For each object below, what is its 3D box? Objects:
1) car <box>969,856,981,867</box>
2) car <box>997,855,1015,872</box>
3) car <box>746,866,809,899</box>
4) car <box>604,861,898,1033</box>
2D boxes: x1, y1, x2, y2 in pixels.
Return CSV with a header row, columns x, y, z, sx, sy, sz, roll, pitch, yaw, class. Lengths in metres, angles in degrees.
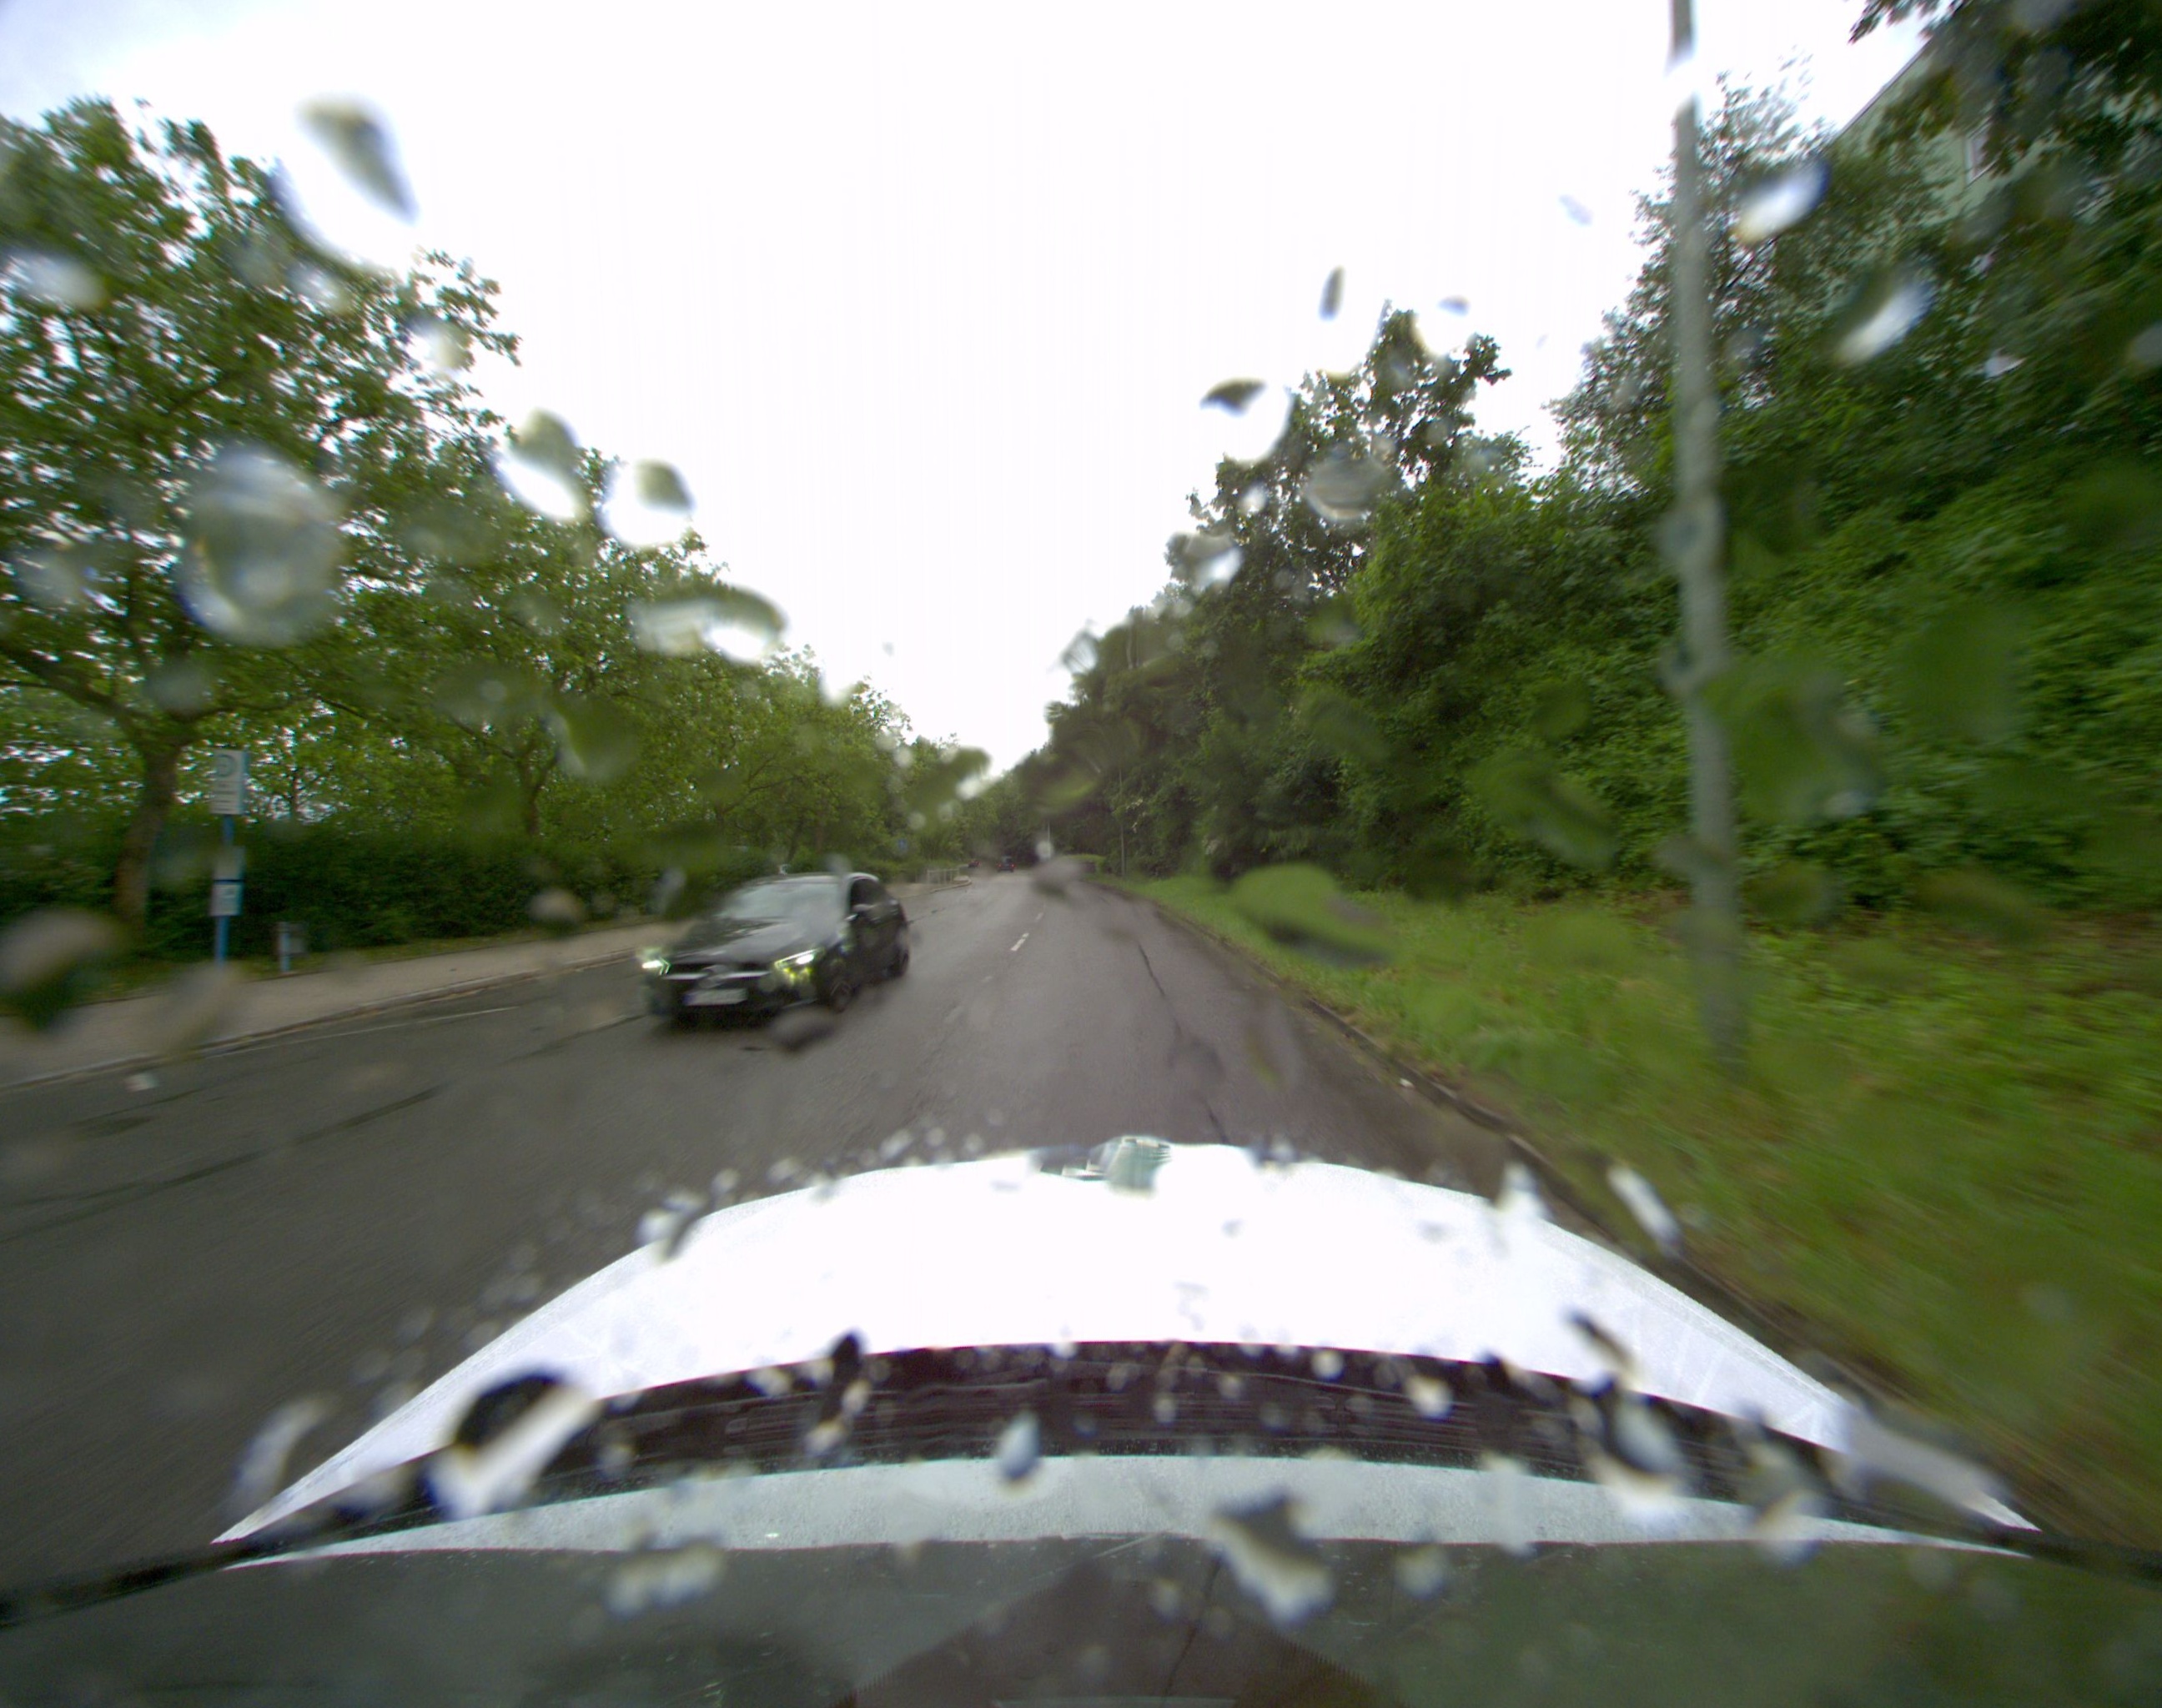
x,y,z,sx,sy,sz,roll,pitch,yaw,class
-18.801,1.333,144.317,1.993,1.816,3.986,0,-1,-10,car
-8.914,1.084,96.841,1.984,1.926,3.989,-1,0,-8,car
-16.149,1.493,43.523,1.789,1.510,3.998,-5,0,-1,car
-3.438,0.866,9.395,1.822,1.465,3.996,-3,-1,-2,car
